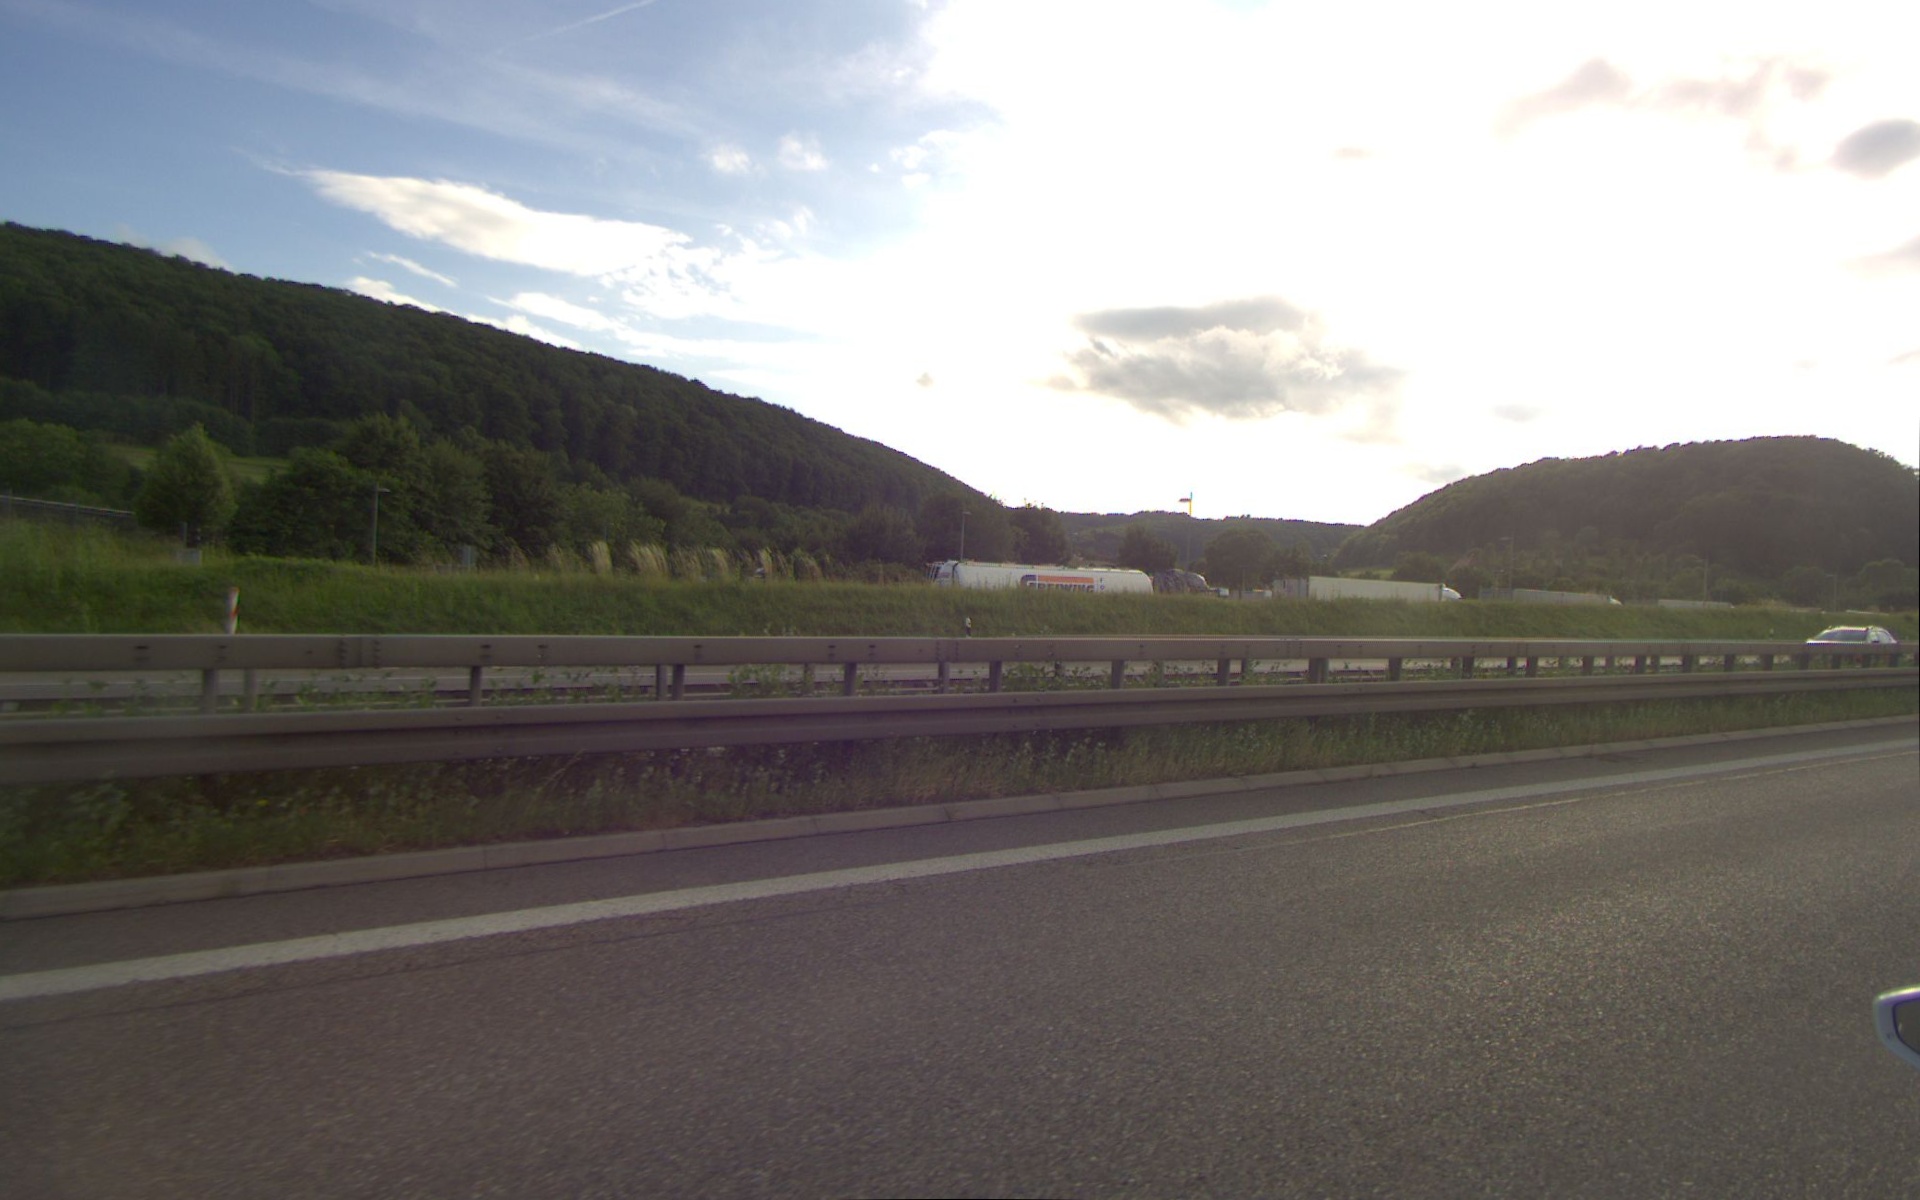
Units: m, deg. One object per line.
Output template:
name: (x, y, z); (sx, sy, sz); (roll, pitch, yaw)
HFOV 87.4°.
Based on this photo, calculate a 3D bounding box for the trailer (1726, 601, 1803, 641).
trailer: (78.675, 2.145, 98.199); (10.262, 3.745, 2.860); (2, -1, -33)

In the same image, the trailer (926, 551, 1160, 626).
trailer: (4.242, -0.455, 48.291); (12.131, 2.891, 2.564); (3, -1, -33)

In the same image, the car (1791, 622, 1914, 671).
car: (30.147, 1.551, 33.922); (4.164, 1.550, 1.833); (1, -2, -29)

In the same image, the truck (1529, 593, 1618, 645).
truck: (47.236, 1.541, 77.239); (8.410, 3.739, 2.862); (3, -2, -36)

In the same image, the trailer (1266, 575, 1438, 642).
trailer: (24.302, 0.630, 61.685); (13.540, 3.745, 2.858); (2, -1, -35)

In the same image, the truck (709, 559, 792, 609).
truck: (-18.075, -1.263, 87.670); (2.535, 3.907, 11.388); (2, -1, 12)

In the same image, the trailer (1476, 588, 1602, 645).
trailer: (42.936, 1.340, 74.173); (13.544, 3.744, 2.858); (3, -2, -36)

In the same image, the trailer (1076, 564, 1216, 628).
trailer: (9.654, -0.155, 51.802); (7.227, 2.891, 2.597); (3, -1, -33)

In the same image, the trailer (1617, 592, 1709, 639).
trailer: (59.903, 1.375, 85.529); (10.262, 3.745, 2.860); (2, -1, -33)

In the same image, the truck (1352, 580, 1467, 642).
truck: (29.177, 0.788, 65.033); (8.409, 3.739, 2.863); (2, -2, -35)
